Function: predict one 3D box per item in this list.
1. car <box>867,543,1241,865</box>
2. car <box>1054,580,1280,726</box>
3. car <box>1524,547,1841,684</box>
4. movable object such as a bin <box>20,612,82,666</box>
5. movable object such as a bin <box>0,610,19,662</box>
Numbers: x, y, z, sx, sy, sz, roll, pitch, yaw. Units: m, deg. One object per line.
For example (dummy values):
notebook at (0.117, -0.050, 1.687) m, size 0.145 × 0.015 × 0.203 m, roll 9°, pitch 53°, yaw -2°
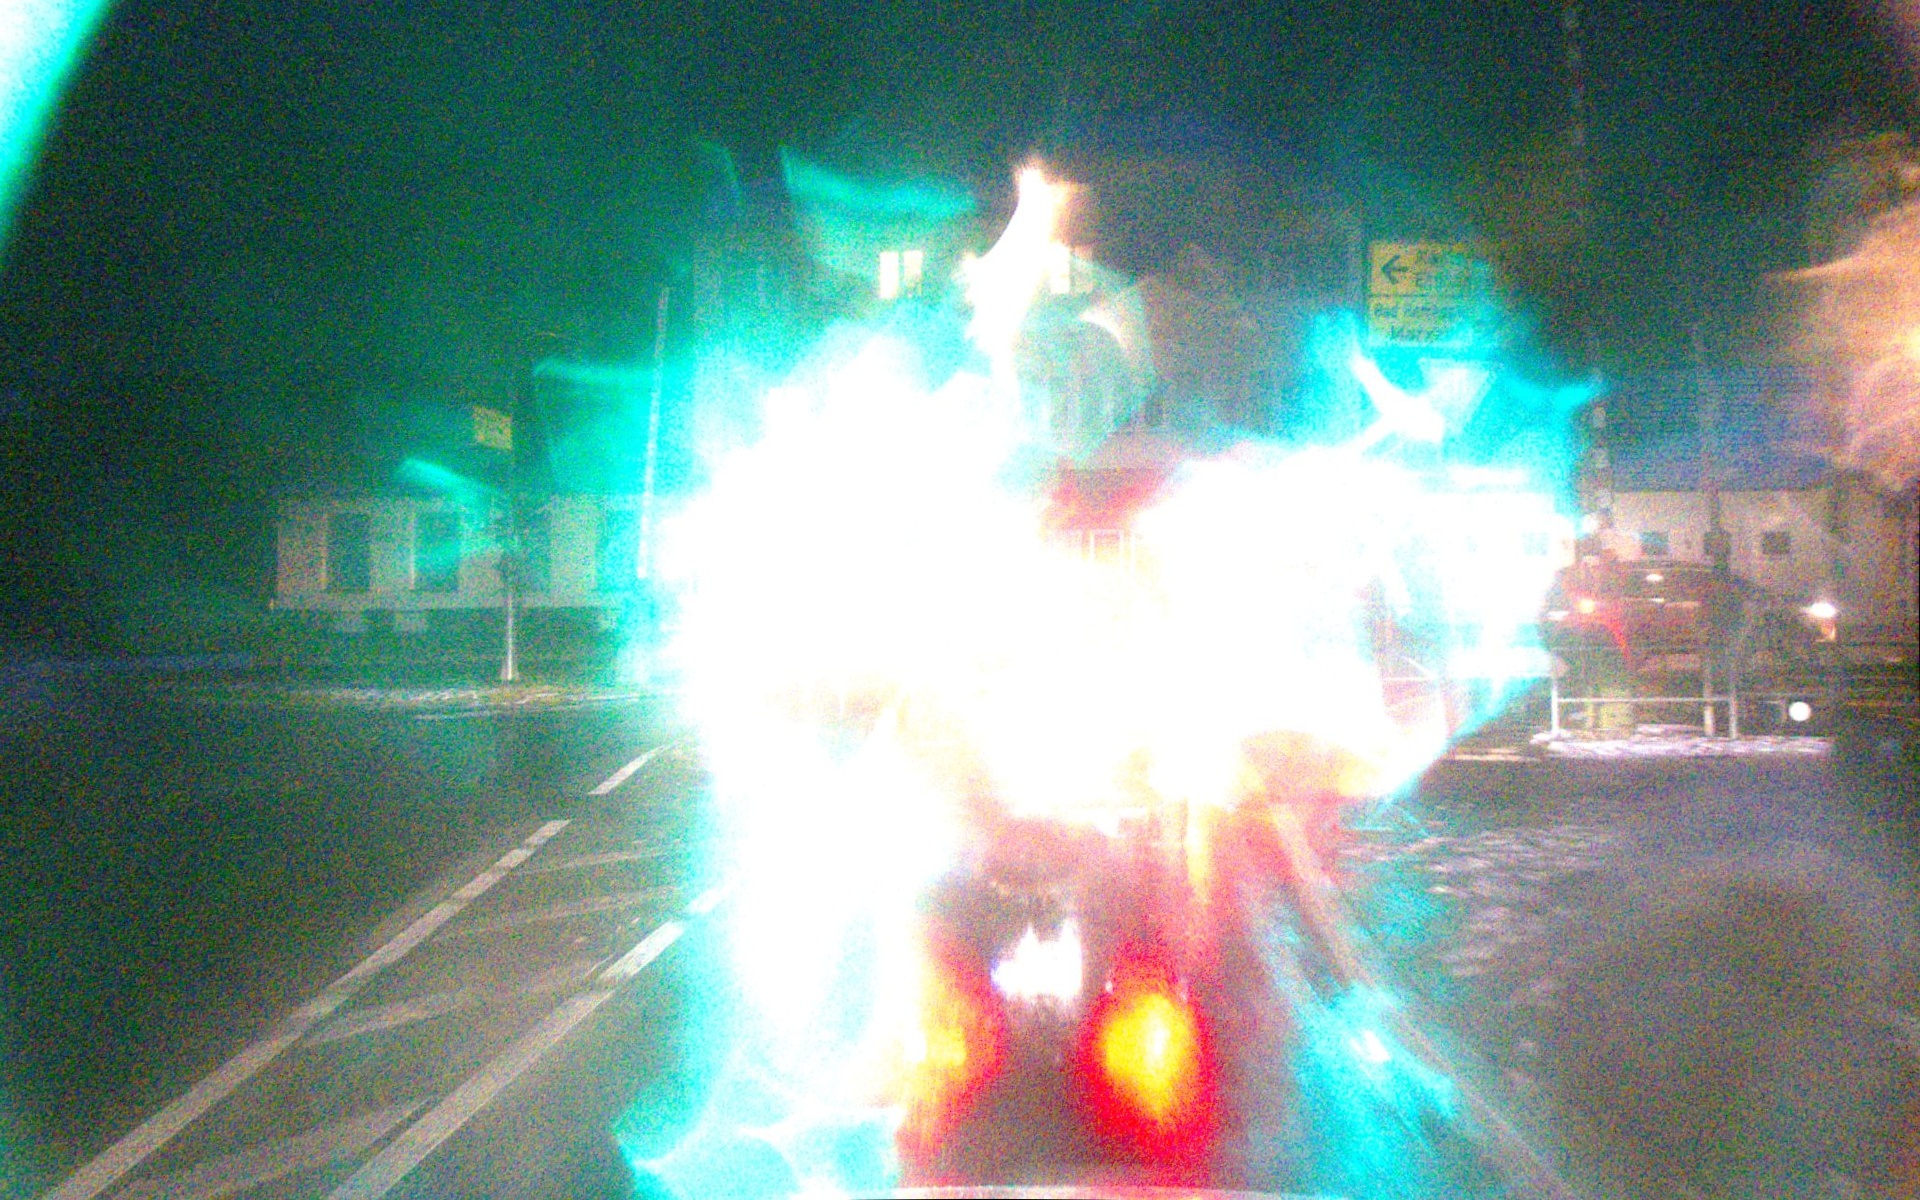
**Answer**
car at (0.656, 0.568, 11.206) m, size 2.014 × 1.707 × 4.141 m, roll 2°, pitch 0°, yaw 4°
car at (2.676, 0.554, 20.508) m, size 1.870 × 1.536 × 4.242 m, roll 0°, pitch 2°, yaw 20°
car at (11.226, 0.211, 25.915) m, size 4.152 × 1.981 × 1.778 m, roll 1°, pitch 1°, yaw 2°
movable object such as a bin at (-25.684, 1.122, 46.762) m, size 1.296 × 1.322 × 1.242 m, roll 4°, pitch -9°, yaw -22°
movable object such as a bin at (-27.134, 0.991, 46.172) m, size 1.369 × 1.438 × 1.241 m, roll 1°, pitch 0°, yaw -25°
